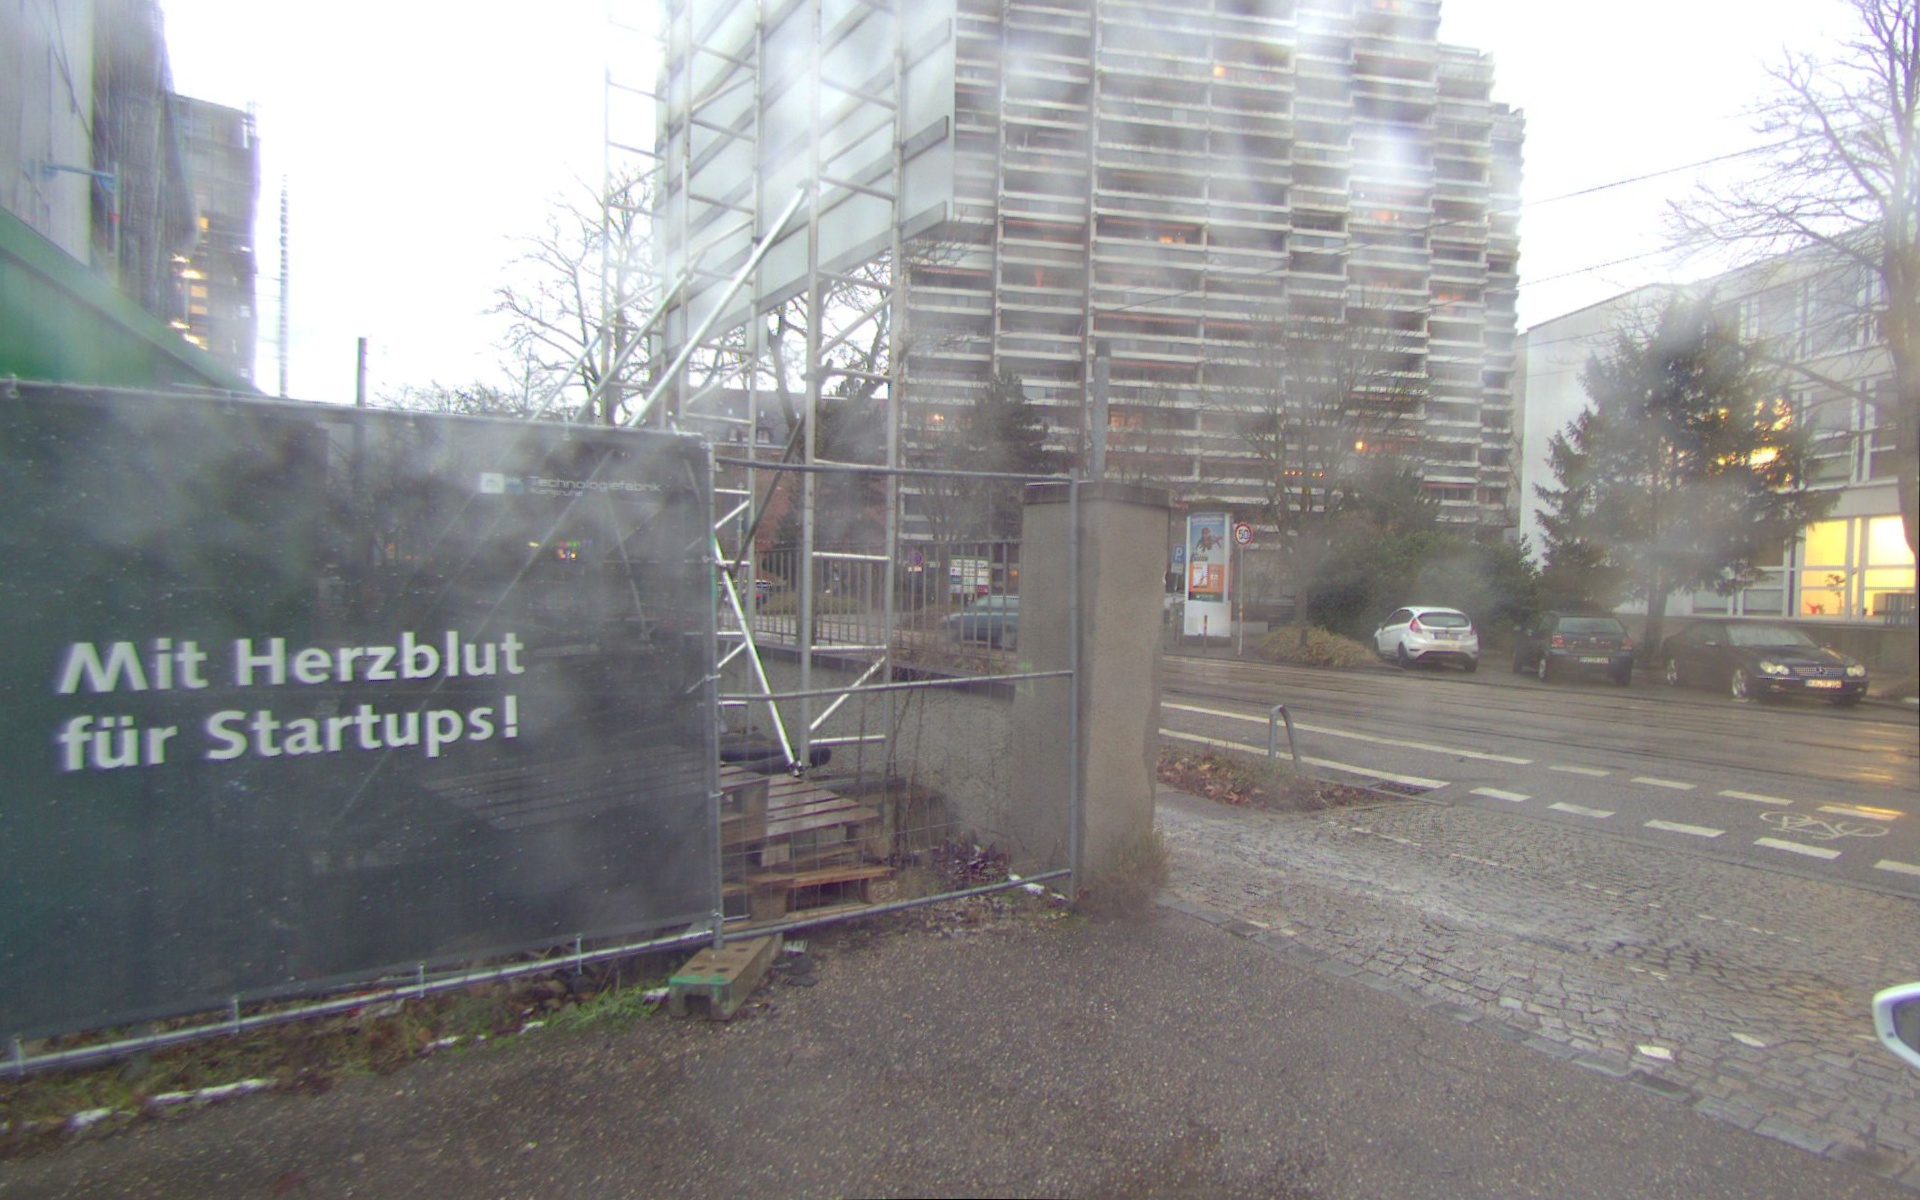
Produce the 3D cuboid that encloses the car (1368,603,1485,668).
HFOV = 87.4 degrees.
[{"bbox_3d":[11.448,0.835,24.942,1.818,1.418,4.002,2,0,13],"label":"car"}]

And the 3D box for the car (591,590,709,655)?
[{"bbox_3d":[-7.438,0.494,23.891,1.736,1.405,3.702,2,0,-33],"label":"car"}]

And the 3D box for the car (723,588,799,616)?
[{"bbox_3d":[-11.459,0.129,57.867,3.952,1.506,1.659,2,0,-30],"label":"car"}]

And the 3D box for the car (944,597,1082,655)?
[{"bbox_3d":[1.381,0.692,27.653,1.749,1.430,3.961,2,0,-34],"label":"car"}]

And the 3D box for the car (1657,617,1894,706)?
[{"bbox_3d":[14.948,1.053,18.717,1.818,1.397,4.002,2,0,13],"label":"car"}]

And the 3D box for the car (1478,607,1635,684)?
[{"bbox_3d":[12.979,0.938,22.146,1.818,1.482,4.002,2,0,13],"label":"car"}]

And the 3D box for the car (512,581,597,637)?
[{"bbox_3d":[-12.603,0.253,31.095,1.736,1.605,3.702,2,0,-33],"label":"car"}]

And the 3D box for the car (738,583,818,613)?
[{"bbox_3d":[-9.945,-0.109,55.012,3.952,1.506,1.659,2,0,-30],"label":"car"}]
